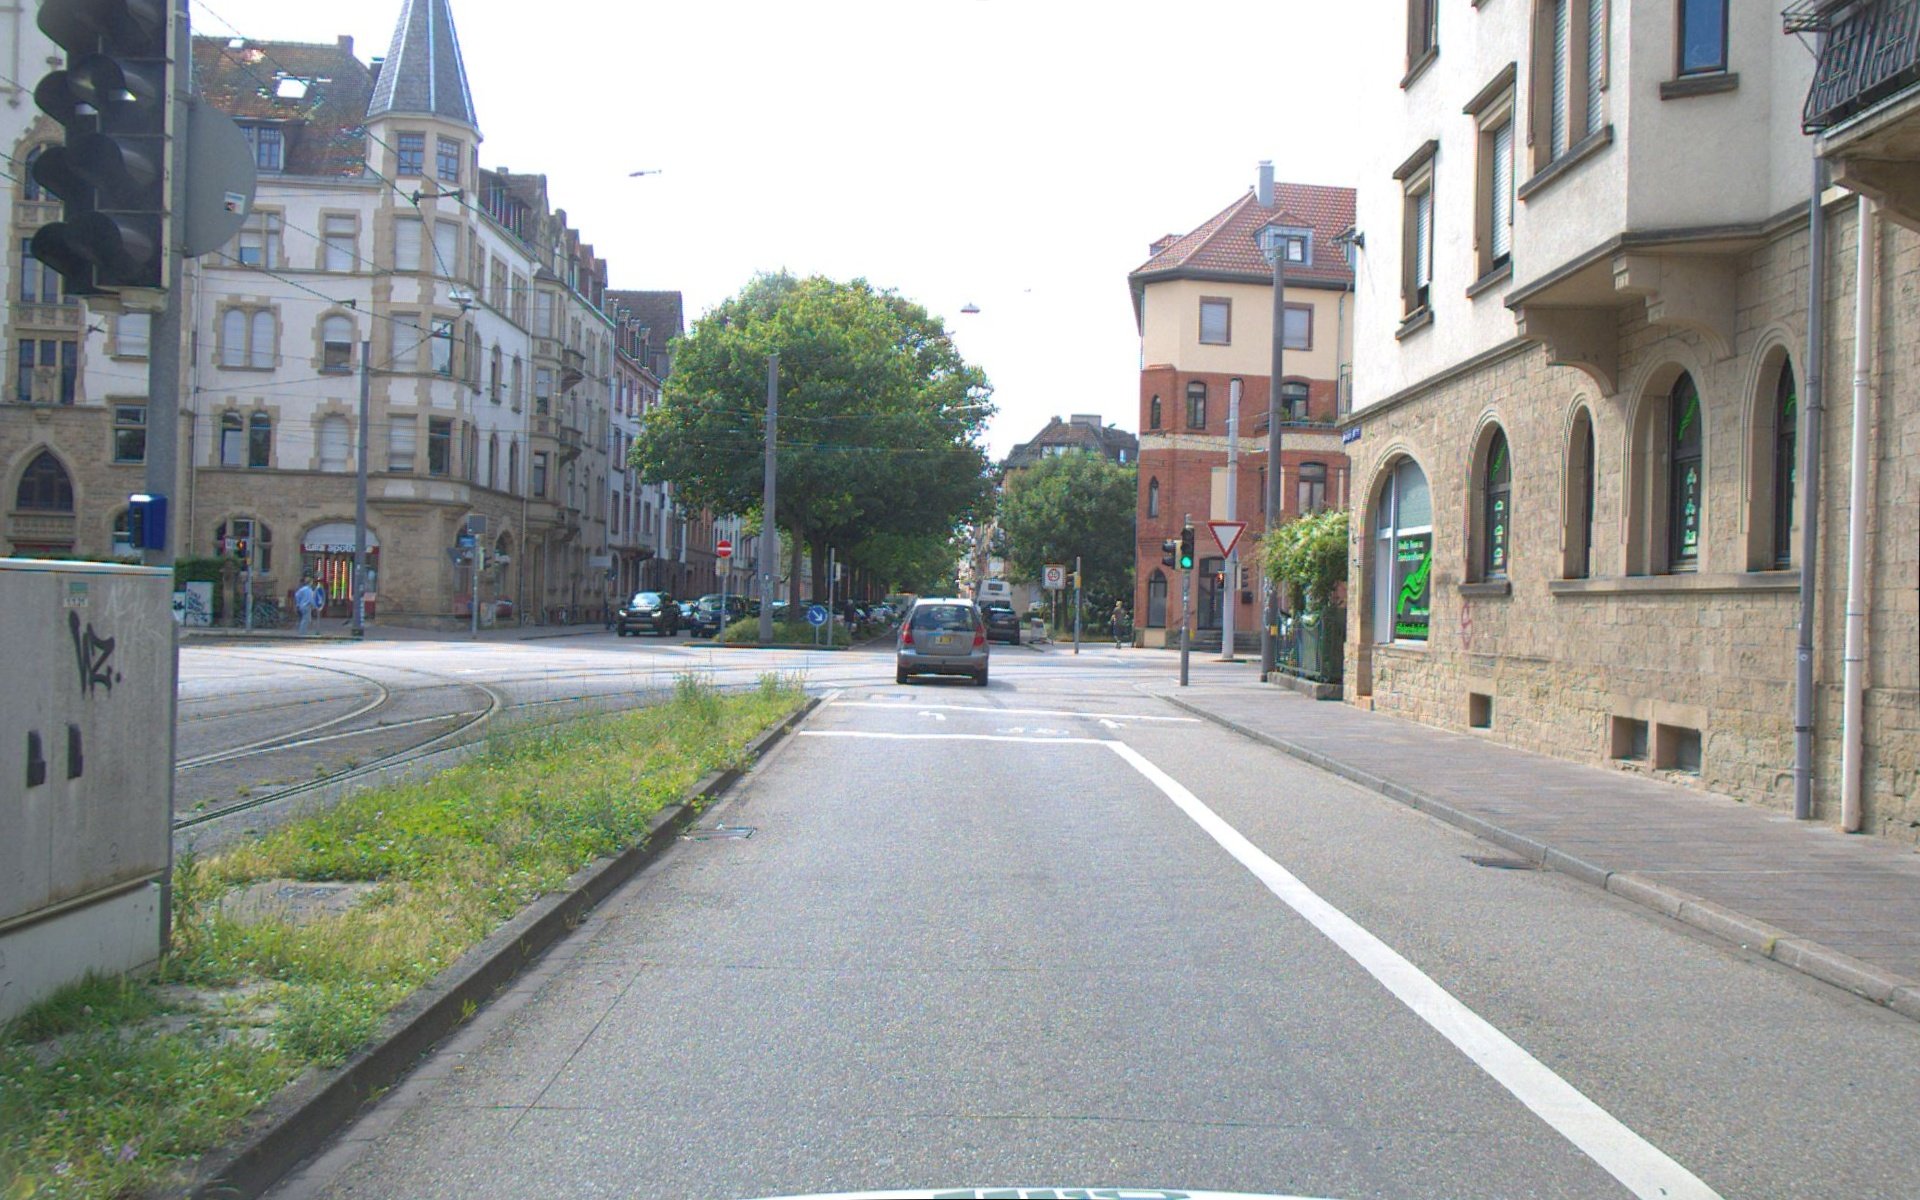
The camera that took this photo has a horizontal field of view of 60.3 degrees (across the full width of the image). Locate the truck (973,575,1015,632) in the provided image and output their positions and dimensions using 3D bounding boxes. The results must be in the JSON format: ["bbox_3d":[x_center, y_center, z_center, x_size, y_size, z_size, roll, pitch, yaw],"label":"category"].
[{"bbox_3d":[1.861,0.187,89.644,2.078,3.022,4.001,1,0,3],"label":"truck"}]

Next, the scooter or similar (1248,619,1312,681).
[{"bbox_3d":[6.457,1.004,33.381,1.171,1.238,0.462,1,-1,-7],"label":"scooter or similar"}]

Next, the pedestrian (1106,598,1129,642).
[{"bbox_3d":[6.134,0.789,64.441,0.851,1.685,0.736,2,0,4],"label":"pedestrian"}]

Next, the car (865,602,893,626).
[{"bbox_3d":[-5.543,0.945,113.867,1.716,1.543,3.499,2,0,0],"label":"car"}]

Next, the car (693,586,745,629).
[{"bbox_3d":[-10.168,0.309,70.027,1.955,1.758,3.995,1,0,-6],"label":"car"}]

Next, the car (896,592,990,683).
[{"bbox_3d":[-0.303,0.697,31.958,1.687,1.634,3.677,1,0,0],"label":"car"}]

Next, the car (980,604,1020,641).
[{"bbox_3d":[1.862,1.023,76.696,1.715,1.661,3.501,2,0,3],"label":"car"}]

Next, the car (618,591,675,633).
[{"bbox_3d":[-12.924,0.493,68.388,1.955,1.646,3.995,1,0,-6],"label":"car"}]

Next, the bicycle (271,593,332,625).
[{"bbox_3d":[-23.352,0.321,58.704,1.881,1.100,0.776,1,0,-11],"label":"bicycle"}]

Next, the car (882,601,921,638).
[{"bbox_3d":[-2.795,0.920,79.227,1.687,1.736,3.677,1,0,0],"label":"car"}]

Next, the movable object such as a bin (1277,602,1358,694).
[{"bbox_3d":[6.387,0.835,29.686,1.028,1.566,2.100,1,0,1],"label":"movable object such as a bin"}]

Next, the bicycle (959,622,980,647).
[{"bbox_3d":[0.386,1.354,65.500,0.733,0.975,2.299,1,0,3],"label":"bicycle"}]

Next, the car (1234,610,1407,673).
[{"bbox_3d":[9.122,1.046,41.783,3.941,1.467,1.968,2,0,-28],"label":"car"}]

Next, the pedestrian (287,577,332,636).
[{"bbox_3d":[-19.904,0.197,50.613,1.016,1.752,0.763,2,-1,-45],"label":"pedestrian"}]

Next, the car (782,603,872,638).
[{"bbox_3d":[-5.768,0.876,71.347,1.956,1.362,3.943,2,0,-39],"label":"car"}]

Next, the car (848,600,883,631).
[{"bbox_3d":[-5.265,0.842,92.844,1.716,1.661,3.499,2,0,0],"label":"car"}]

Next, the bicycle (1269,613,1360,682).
[{"bbox_3d":[7.087,0.943,33.038,1.795,1.352,0.276,1,-1,-11],"label":"bicycle"}]

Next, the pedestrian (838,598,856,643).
[{"bbox_3d":[-4.548,0.819,66.481,0.638,1.755,0.495,2,0,3],"label":"pedestrian"}]

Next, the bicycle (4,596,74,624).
[{"bbox_3d":[-29.505,0.321,53.011,1.881,0.863,0.469,1,-1,-11],"label":"bicycle"}]

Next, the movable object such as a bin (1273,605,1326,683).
[{"bbox_3d":[6.604,0.849,32.223,0.701,1.497,0.980,1,0,-9],"label":"movable object such as a bin"}]

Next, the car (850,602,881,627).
[{"bbox_3d":[-6.088,0.948,106.817,1.716,1.543,3.499,2,0,0],"label":"car"}]

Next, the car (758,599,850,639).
[{"bbox_3d":[-6.501,0.777,68.722,1.956,1.521,3.943,2,0,-39],"label":"car"}]

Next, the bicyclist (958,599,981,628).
[{"bbox_3d":[0.384,0.527,65.422,0.819,1.101,1.401,1,0,3],"label":"bicyclist"}]
